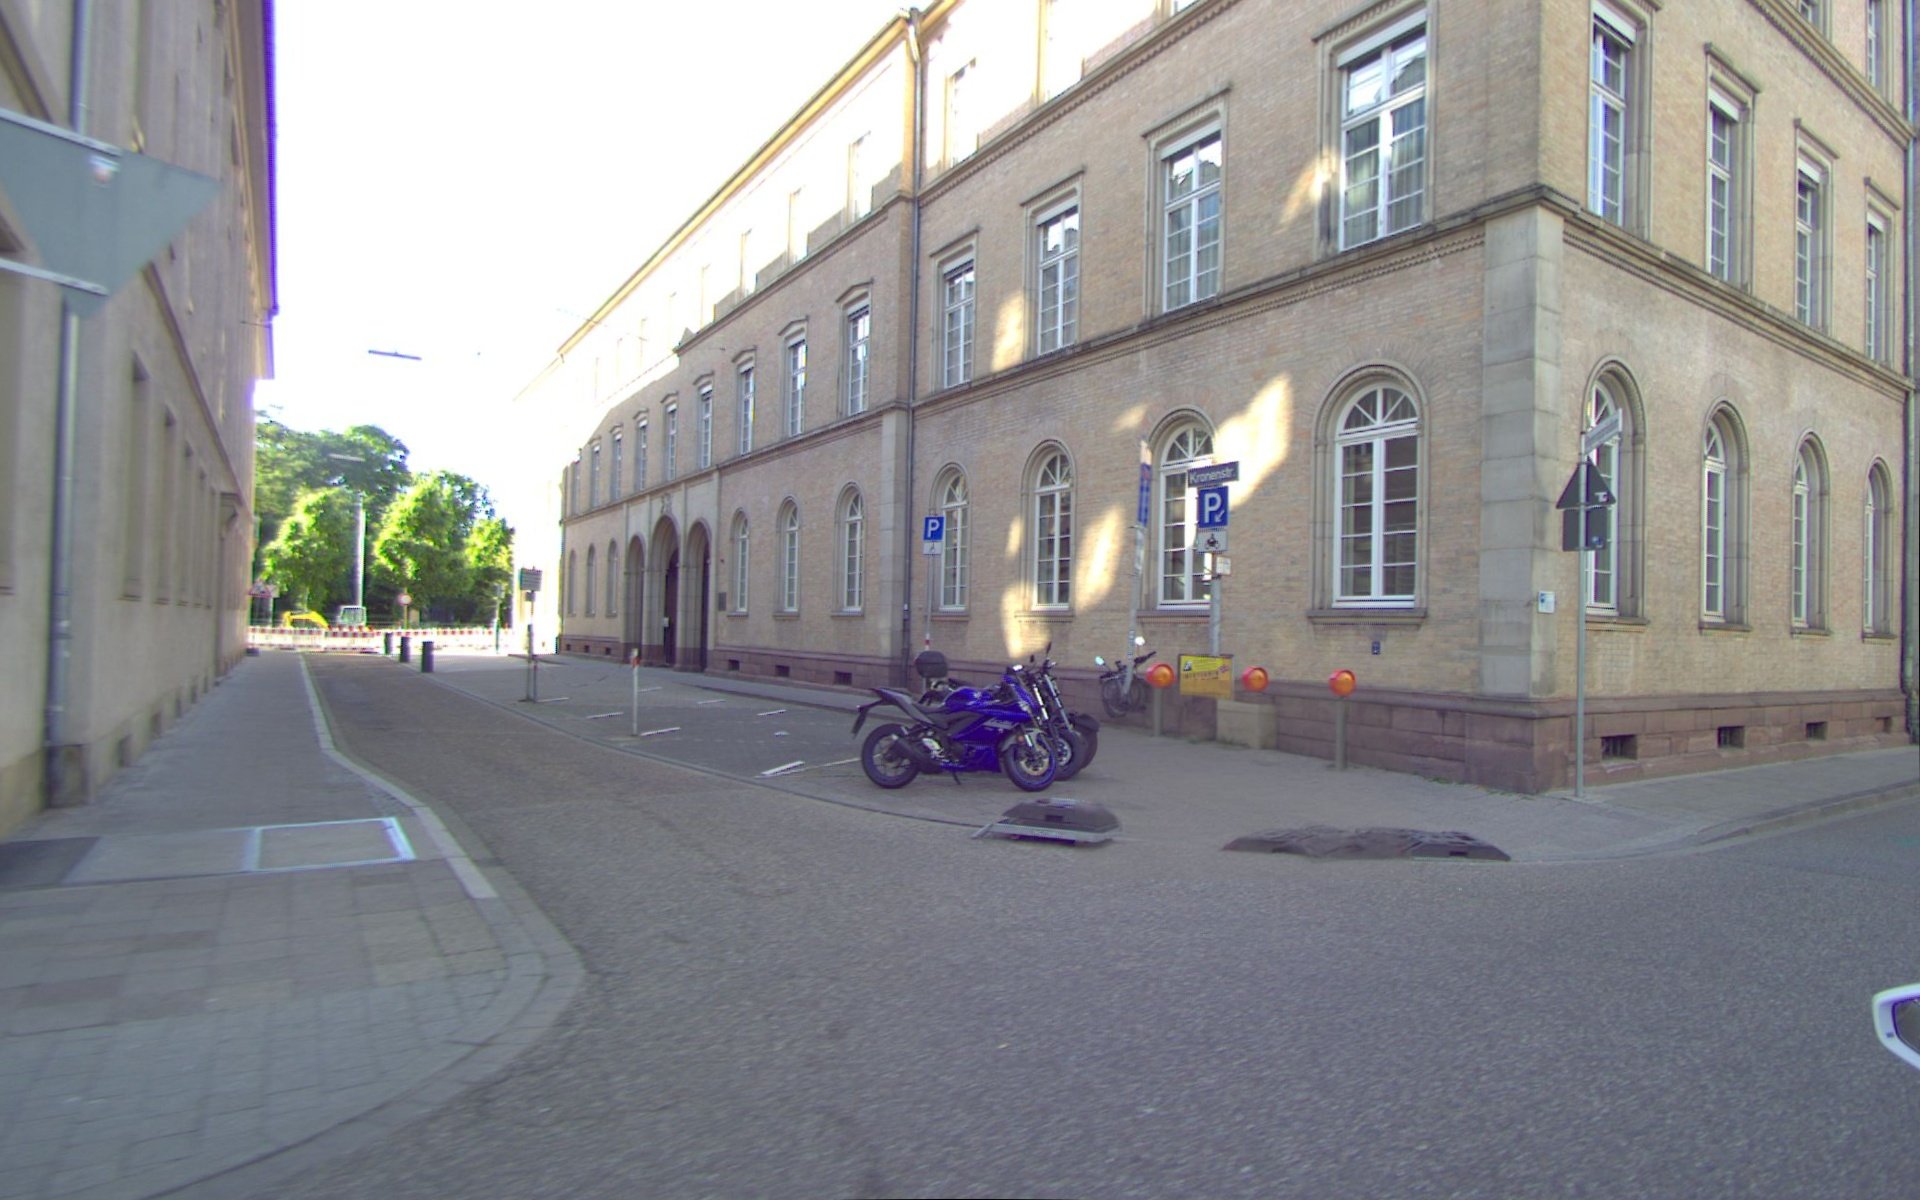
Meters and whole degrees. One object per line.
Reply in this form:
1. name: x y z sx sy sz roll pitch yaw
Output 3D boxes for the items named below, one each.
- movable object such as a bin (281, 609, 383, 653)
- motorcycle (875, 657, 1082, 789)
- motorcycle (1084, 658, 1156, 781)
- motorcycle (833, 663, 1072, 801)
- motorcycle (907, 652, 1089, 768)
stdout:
1. movable object such as a bin: -33.450 1.681 53.708 4.416 2.198 3.077 2 -2 -30
2. motorcycle: 0.203 1.299 10.884 2.156 1.310 0.588 0 -2 13
3. motorcycle: 1.837 1.274 11.286 0.647 1.188 2.202 0 -2 13
4. motorcycle: -0.058 1.237 9.649 2.237 1.189 0.588 0 1 8
5. motorcycle: 0.460 1.283 12.001 2.084 1.291 0.588 0 -2 12
